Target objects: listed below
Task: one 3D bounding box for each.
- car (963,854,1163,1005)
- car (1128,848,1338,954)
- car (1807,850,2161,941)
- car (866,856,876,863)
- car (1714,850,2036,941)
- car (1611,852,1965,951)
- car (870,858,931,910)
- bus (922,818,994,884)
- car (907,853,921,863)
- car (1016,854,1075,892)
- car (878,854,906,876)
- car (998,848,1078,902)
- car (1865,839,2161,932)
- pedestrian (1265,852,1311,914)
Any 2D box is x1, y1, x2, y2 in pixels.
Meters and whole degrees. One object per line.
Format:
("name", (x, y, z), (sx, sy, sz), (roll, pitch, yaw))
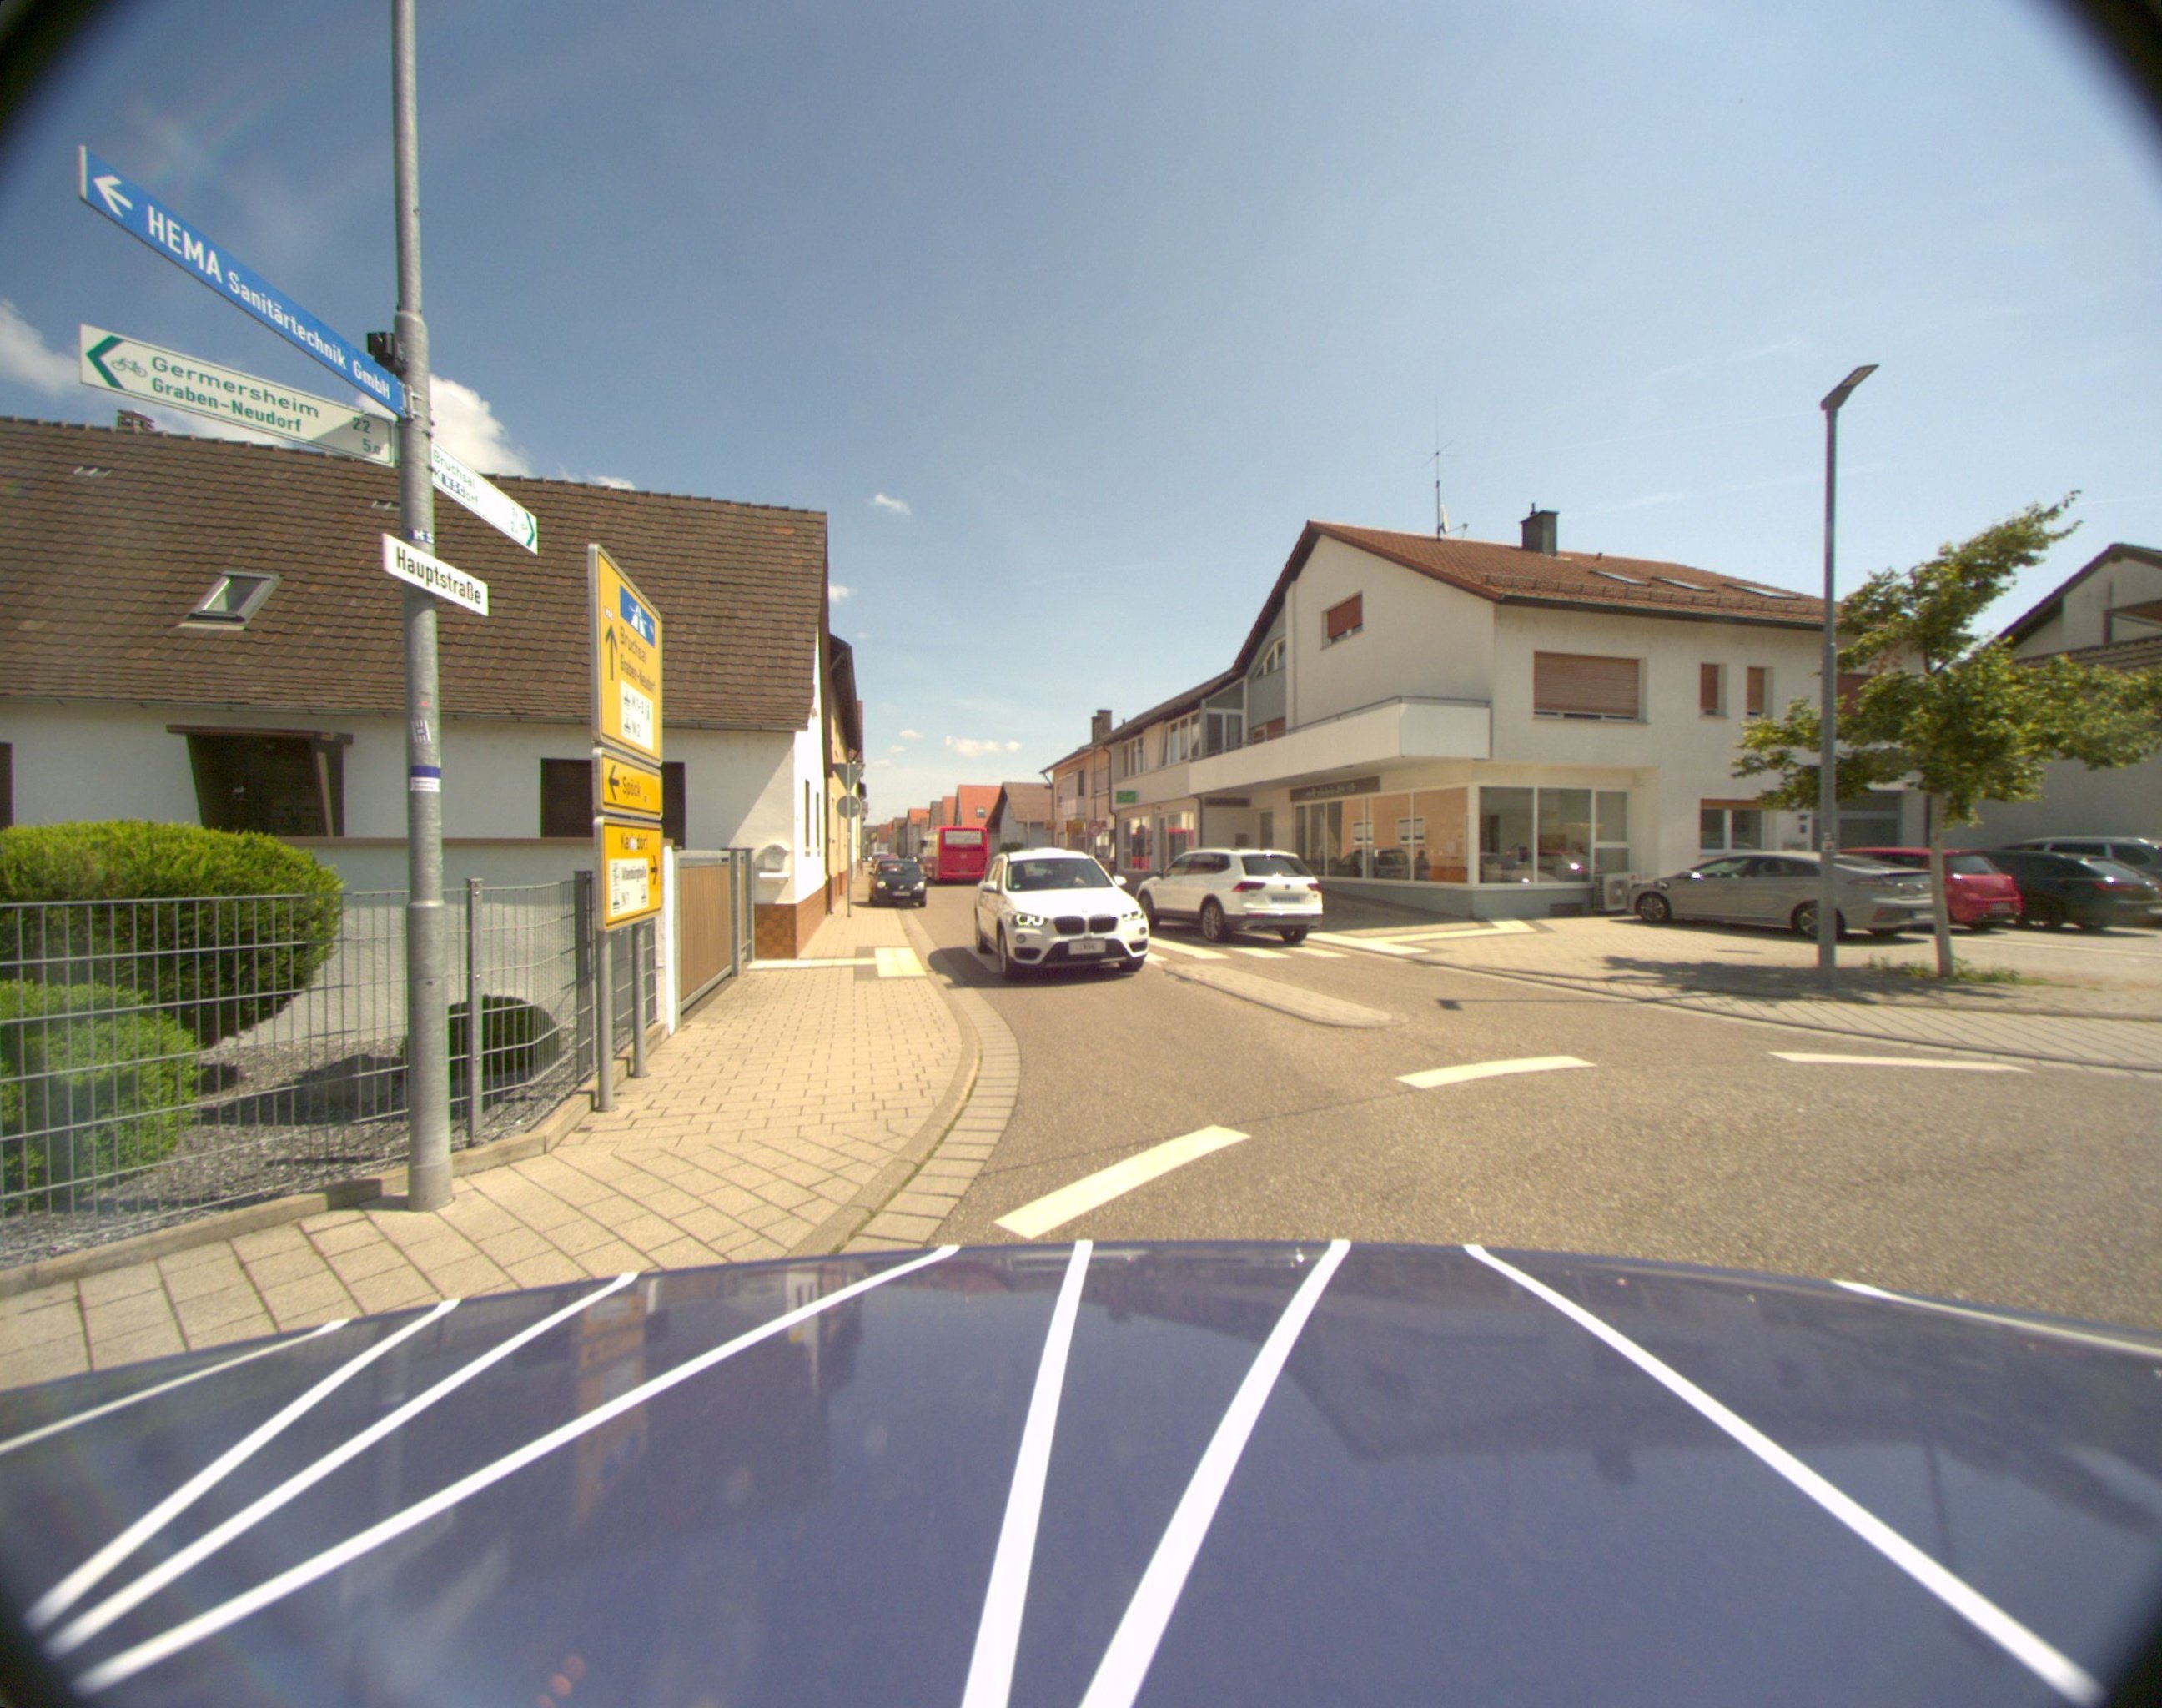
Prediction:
("car", (-0.506, 0.853, 10.942), (1.847, 1.636, 4.368), (-3, 1, -15))
("car", (2.659, 0.764, 14.585), (1.874, 1.700, 4.534), (1, 0, -19))
("car", (17.671, 0.684, 15.017), (1.837, 1.442, 4.471), (-1, 1, -16))
("car", (-44.782, 1.117, 161.840), (1.767, 1.420, 3.846), (0, 0, -18))
("car", (15.135, 0.676, 14.825), (1.754, 1.469, 3.957), (-1, 1, -16))
("car", (12.613, 0.719, 14.035), (1.837, 1.442, 4.471), (-1, 1, -16))
("car", (-5.717, 0.890, 23.814), (1.692, 1.454, 3.624), (2, 0, -16))
("bus", (-7.345, -0.165, 43.753), (2.637, 3.213, 12.005), (1, 0, -16))
("car", (-25.951, 0.622, 118.012), (1.767, 1.420, 3.846), (0, 0, -18))
("car", (-1.723, 0.821, 35.432), (1.750, 1.507, 3.993), (-4, 2, -17))
("car", (-12.911, 0.735, 51.776), (1.767, 1.420, 4.183), (0, 0, -16))
("car", (-1.688, 0.711, 28.155), (1.779, 1.810, 4.434), (1, 0, -19))
("car", (20.561, 0.554, 16.344), (1.988, 1.729, 4.741), (-1, 1, -16))
("pedestrian", (5.508, 0.756, 20.256), (0.758, 1.575, 0.955), (-2, 2, -14))
